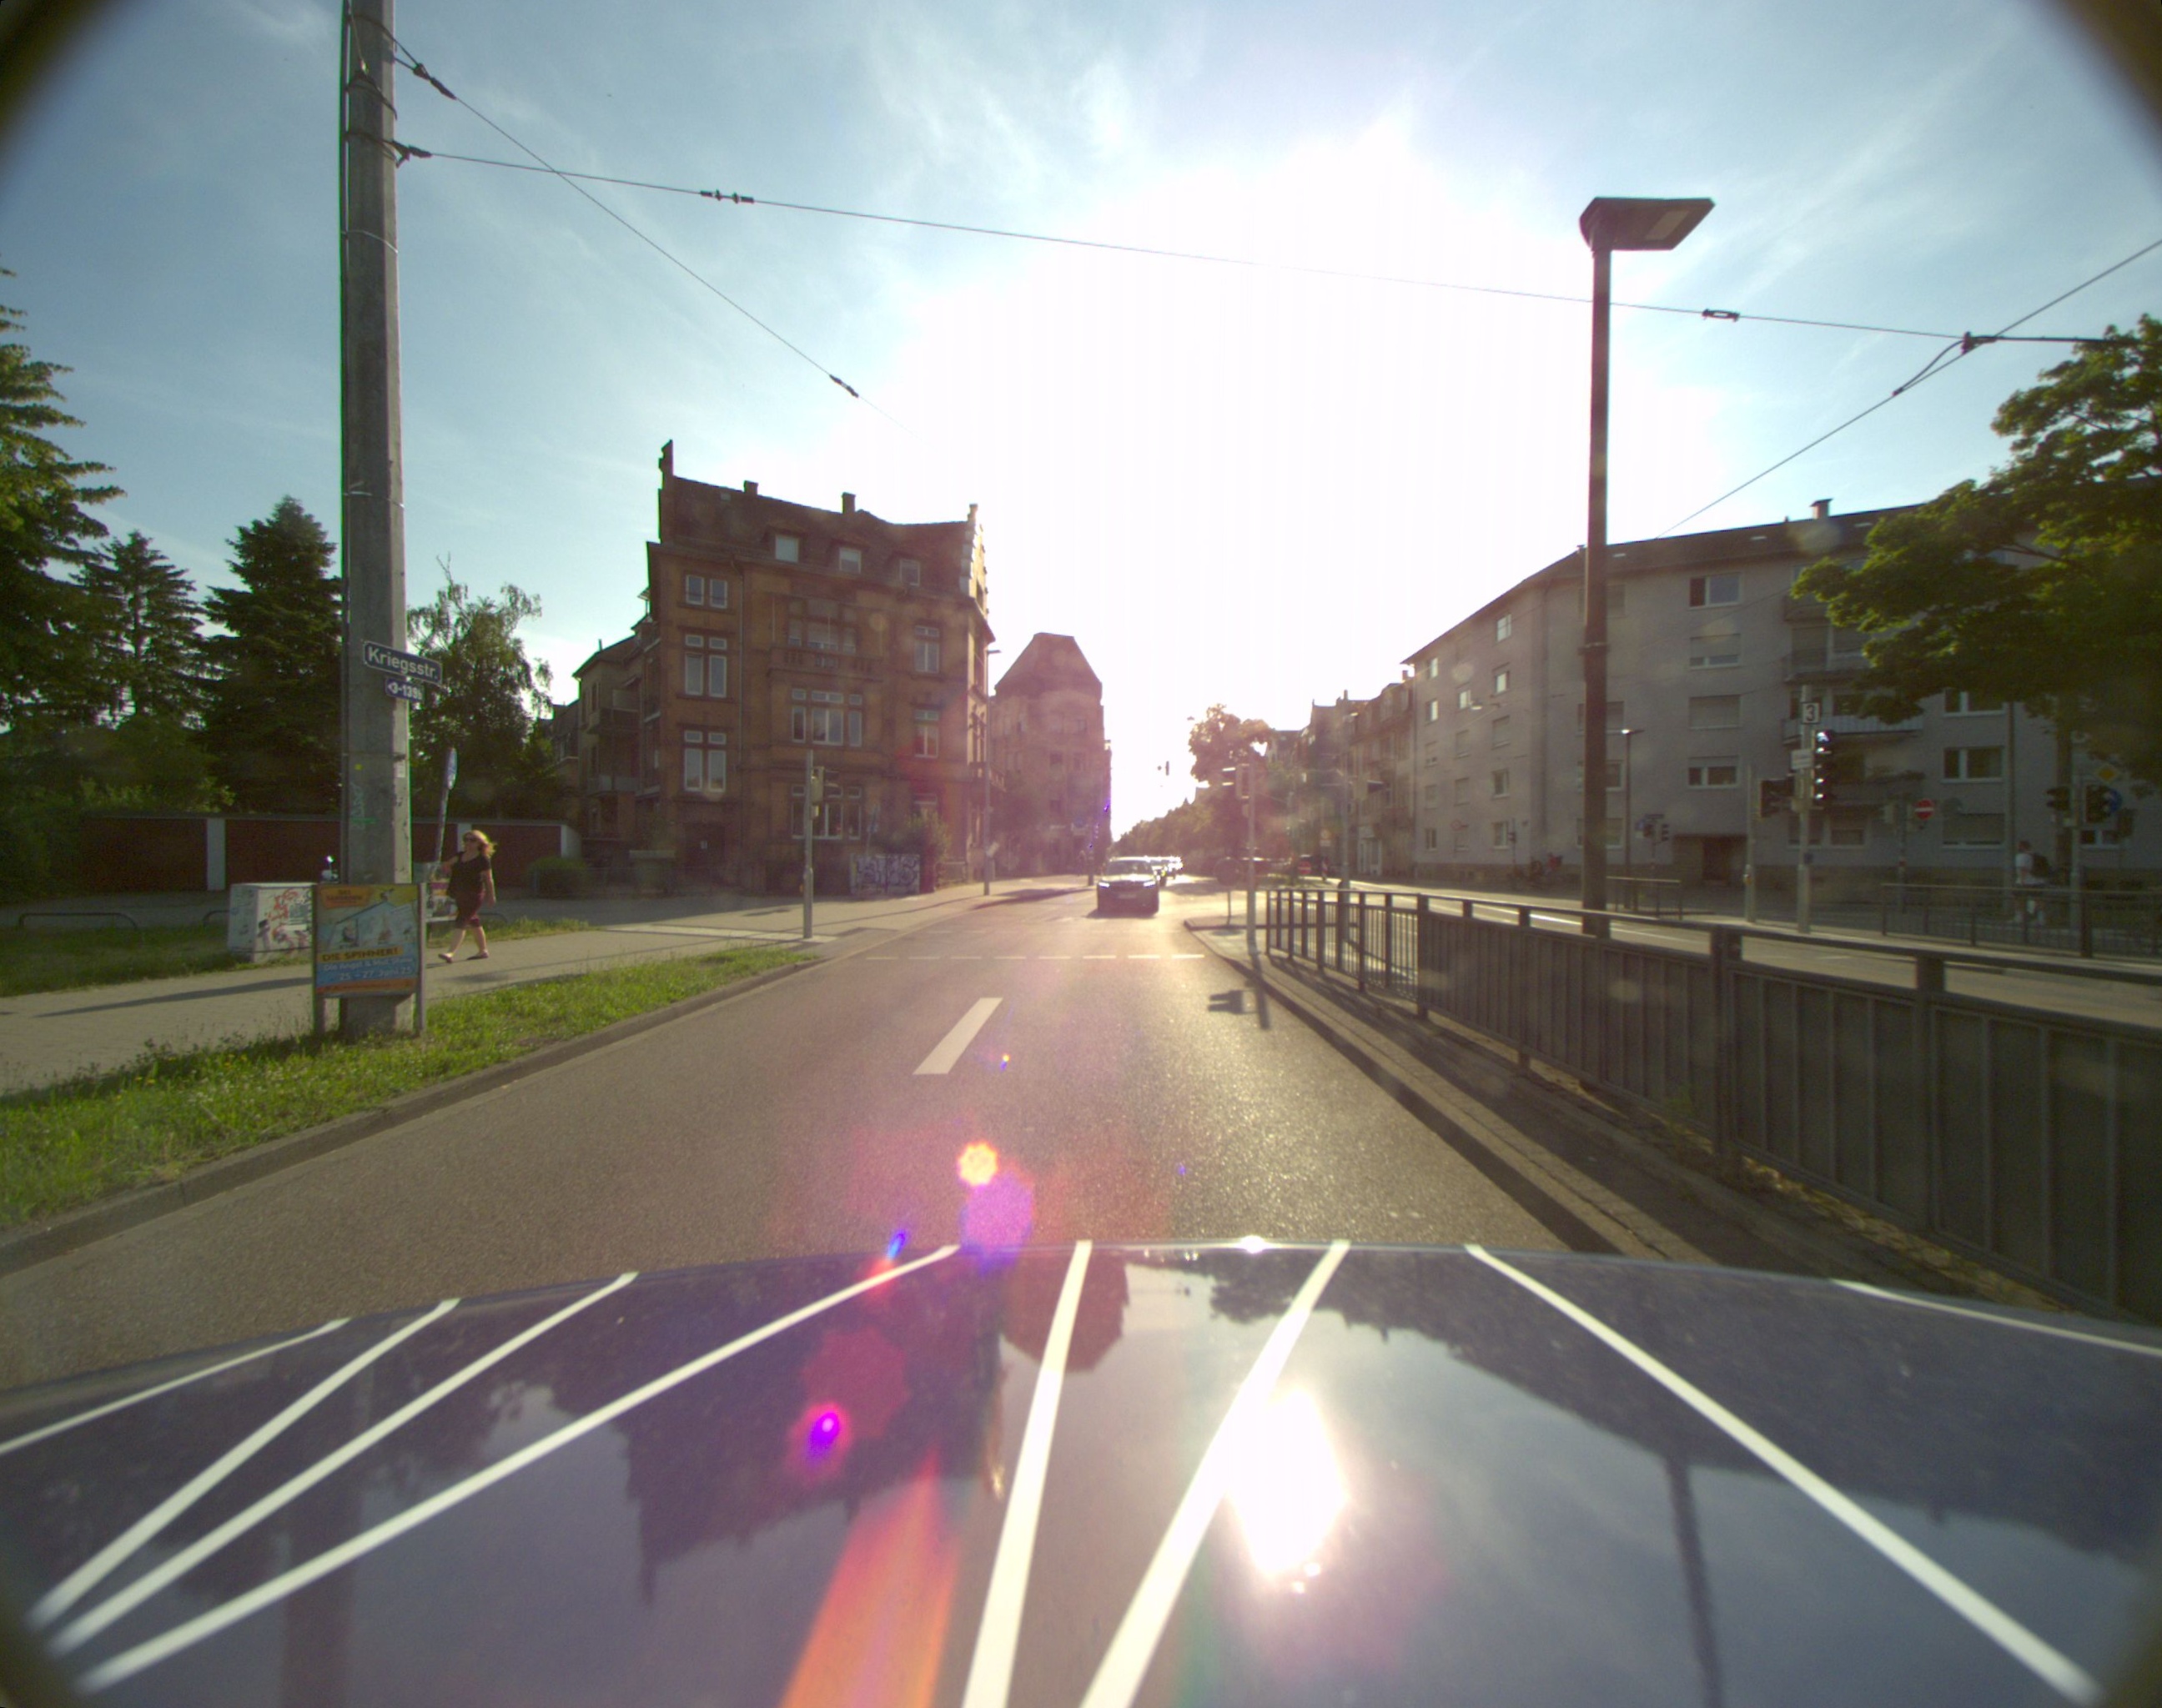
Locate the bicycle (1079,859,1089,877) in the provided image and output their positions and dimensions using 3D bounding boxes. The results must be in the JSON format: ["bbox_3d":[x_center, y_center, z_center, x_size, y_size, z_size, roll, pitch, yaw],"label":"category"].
[{"bbox_3d":[0.228,0.937,50.877,0.484,1.183,1.340,-1,0,7],"label":"bicycle"}]

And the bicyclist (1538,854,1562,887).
[{"bbox_3d":[22.960,0.798,37.189,0.851,1.632,0.815,-1,0,23],"label":"bicyclist"}]

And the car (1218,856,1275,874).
[{"bbox_3d":[12.649,0.826,58.111,3.941,1.352,1.676,1,0,38],"label":"car"}]

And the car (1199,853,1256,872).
[{"bbox_3d":[13.319,0.752,69.384,4.704,1.680,2.177,0,0,44],"label":"car"}]

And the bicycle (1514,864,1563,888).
[{"bbox_3d":[22.026,1.071,36.627,1.912,1.104,0.736,1,-1,23],"label":"bicycle"}]

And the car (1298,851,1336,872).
[{"bbox_3d":[20.730,0.663,66.887,2.169,1.739,4.720,-1,0,5],"label":"car"}]

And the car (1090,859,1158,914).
[{"bbox_3d":[1.324,0.893,22.618,1.839,1.472,4.001,0,0,4],"label":"car"}]

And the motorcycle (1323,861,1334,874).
[{"bbox_3d":[20.480,1.130,62.828,0.636,1.074,1.737,-1,0,27],"label":"motorcycle"}]

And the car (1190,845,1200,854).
[{"bbox_3d":[26.298,-1.070,175.467,1.998,2.002,4.002,-1,0,6],"label":"car"}]

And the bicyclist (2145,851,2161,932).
[{"bbox_3d":[19.064,0.642,13.021,0.652,1.405,0.717,-1,0,5],"label":"bicyclist"}]

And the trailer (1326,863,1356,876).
[{"bbox_3d":[20.627,1.238,60.313,1.444,0.891,2.880,-5,0,3],"label":"trailer"}]

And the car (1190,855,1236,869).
[{"bbox_3d":[13.737,0.809,79.238,4.294,1.414,1.963,-1,0,44],"label":"car"}]

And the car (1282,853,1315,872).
[{"bbox_3d":[20.965,0.767,73.437,2.169,1.739,4.612,-1,0,5],"label":"car"}]

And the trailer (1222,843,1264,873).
[{"bbox_3d":[13.061,0.356,61.317,2.858,2.378,1.726,-1,0,34],"label":"trailer"}]

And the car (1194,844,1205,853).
[{"bbox_3d":[25.595,-1.174,164.126,1.998,2.002,4.002,-1,0,6],"label":"car"}]

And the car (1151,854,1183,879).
[{"bbox_3d":[5.710,0.832,50.216,1.997,1.564,4.002,-1,0,7],"label":"car"}]

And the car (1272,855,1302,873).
[{"bbox_3d":[21.278,1.014,78.633,2.169,1.739,4.612,-1,0,5],"label":"car"}]

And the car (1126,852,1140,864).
[{"bbox_3d":[8.177,0.612,119.891,1.998,2.002,4.000,0,0,2],"label":"car"}]

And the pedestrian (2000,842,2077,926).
[{"bbox_3d":[22.212,0.673,17.635,1.006,1.898,0.707,-1,0,-11],"label":"pedestrian"}]

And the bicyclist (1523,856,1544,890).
[{"bbox_3d":[21.846,0.919,36.682,0.771,1.633,0.796,1,1,23],"label":"bicyclist"}]

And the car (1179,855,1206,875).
[{"bbox_3d":[8.810,0.851,60.373,1.997,1.564,4.002,-1,0,7],"label":"car"}]

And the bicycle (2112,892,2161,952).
[{"bbox_3d":[19.100,1.195,12.805,0.543,1.012,2.251,-1,0,5],"label":"bicycle"}]

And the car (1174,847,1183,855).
[{"bbox_3d":[26.979,-0.807,209.637,1.998,2.002,4.001,-1,0,2],"label":"car"}]

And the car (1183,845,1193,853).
[{"bbox_3d":[26.382,-1.179,188.003,1.998,2.002,4.001,-1,0,2],"label":"car"}]

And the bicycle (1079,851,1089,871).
[{"bbox_3d":[0.214,0.481,50.839,0.574,1.290,0.688,-1,0,8],"label":"bicycle"}]

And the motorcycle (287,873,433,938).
[{"bbox_3d":[-13.615,0.959,14.396,2.002,1.153,0.708,-1,0,-3],"label":"motorcycle"}]

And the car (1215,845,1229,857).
[{"bbox_3d":[24.698,-0.572,133.319,1.998,2.002,4.001,-1,0,3],"label":"car"}]

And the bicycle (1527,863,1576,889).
[{"bbox_3d":[23.024,1.074,37.215,1.976,1.196,0.736,-1,0,23],"label":"bicycle"}]

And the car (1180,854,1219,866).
[{"bbox_3d":[14.529,0.736,93.403,4.259,1.414,2.177,-1,0,44],"label":"car"}]

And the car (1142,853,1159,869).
[{"bbox_3d":[8.701,0.855,95.449,1.998,2.002,4.000,0,0,2],"label":"car"}]

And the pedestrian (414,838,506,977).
[{"bbox_3d":[-7.938,0.660,9.730,0.616,1.682,0.549,5,1,6],"label":"pedestrian"}]
